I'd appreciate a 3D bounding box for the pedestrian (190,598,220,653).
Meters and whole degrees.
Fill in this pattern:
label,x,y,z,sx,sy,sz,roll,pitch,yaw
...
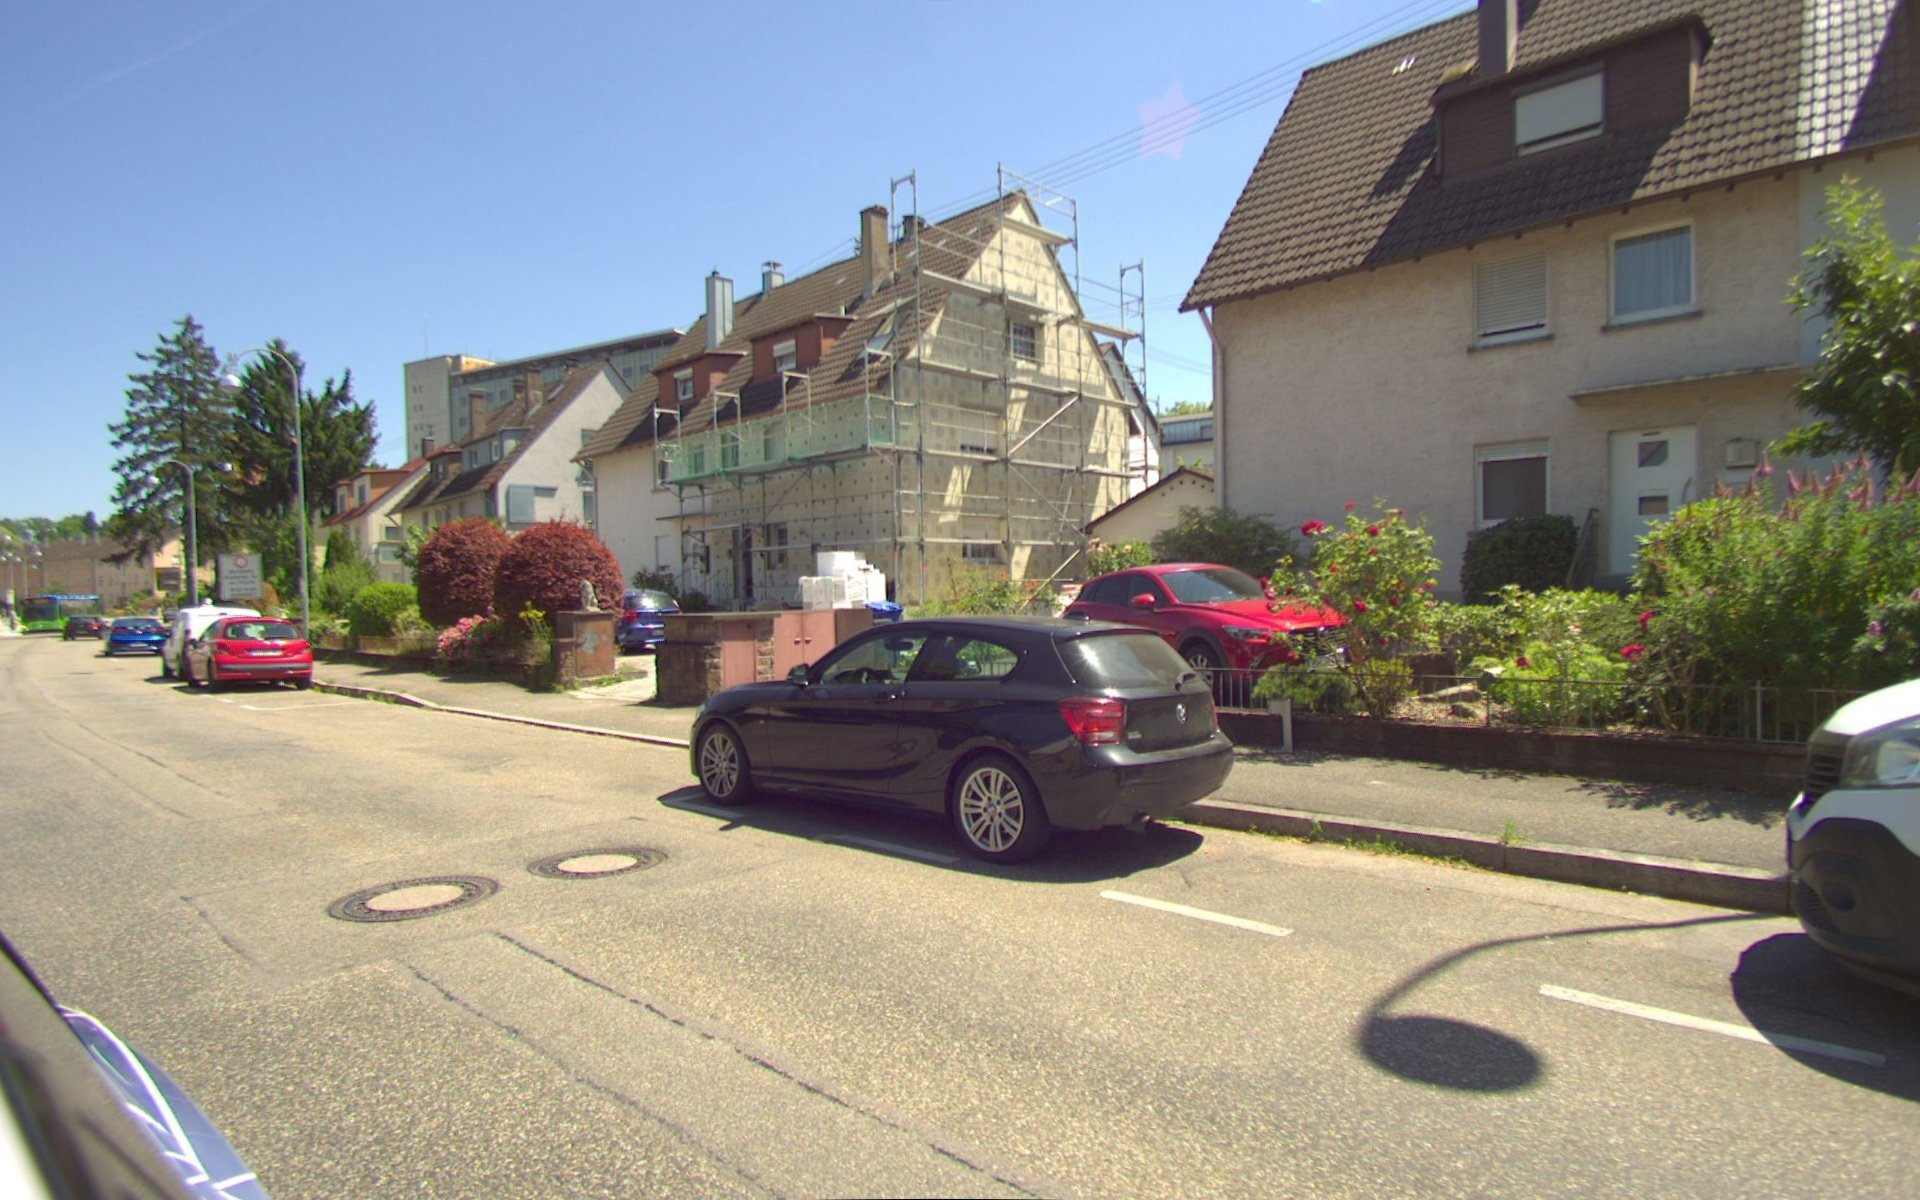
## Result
label,x,y,z,sx,sy,sz,roll,pitch,yaw
pedestrian,-27.402,0.915,36.735,0.681,1.903,1.021,-7,5,-38

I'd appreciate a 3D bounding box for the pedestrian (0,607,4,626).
label,x,y,z,sx,sy,sz,roll,pitch,yaw
pedestrian,-80.898,1.370,84.987,0.605,1.628,0.753,1,-1,-23

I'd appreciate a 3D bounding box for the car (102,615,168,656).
label,x,y,z,sx,sy,sz,roll,pitch,yaw
car,-31.415,1.315,38.491,1.747,1.450,4.368,1,-2,-41

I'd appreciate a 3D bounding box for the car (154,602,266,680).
label,x,y,z,sx,sy,sz,roll,pitch,yaw
car,-18.369,0.968,24.725,1.702,1.749,3.890,1,-2,-44

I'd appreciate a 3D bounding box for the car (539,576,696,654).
label,x,y,z,sx,sy,sz,roll,pitch,yaw
car,-8.007,0.345,23.491,4.000,1.525,1.667,-2,4,43

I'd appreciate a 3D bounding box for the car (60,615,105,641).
label,x,y,z,sx,sy,sz,roll,pitch,yaw
car,-50.311,1.567,58.077,1.709,1.427,4.008,0,-1,-38

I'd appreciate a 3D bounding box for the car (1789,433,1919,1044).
label,x,y,z,sx,sy,sz,roll,pitch,yaw
car,5.234,0.409,2.432,4.977,1.895,1.867,-1,0,41

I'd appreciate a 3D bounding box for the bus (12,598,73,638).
label,x,y,z,sx,sy,sz,roll,pitch,yaw
bus,-77.893,1.494,86.113,2.866,3.103,12.587,-2,1,-38

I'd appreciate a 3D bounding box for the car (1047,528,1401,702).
label,x,y,z,sx,sy,sz,roll,pitch,yaw
car,2.732,0.198,11.544,1.620,1.523,4.125,-5,0,-22

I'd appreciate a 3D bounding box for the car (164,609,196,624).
label,x,y,z,sx,sy,sz,roll,pitch,yaw
car,-81.580,1.714,105.869,1.716,1.516,4.156,0,-1,-24

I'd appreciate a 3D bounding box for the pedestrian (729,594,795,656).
label,x,y,z,sx,sy,sz,roll,pitch,yaw
pedestrian,-4.300,0.529,21.946,1.207,1.273,0.698,0,4,32

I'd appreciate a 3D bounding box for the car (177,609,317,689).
label,x,y,z,sx,sy,sz,roll,pitch,yaw
car,-14.919,0.970,21.091,1.740,1.489,4.061,1,-2,-44

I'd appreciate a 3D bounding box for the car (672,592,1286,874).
label,x,y,z,sx,sy,sz,roll,pitch,yaw
car,-0.106,0.714,7.078,4.234,1.395,1.680,-1,-2,42
